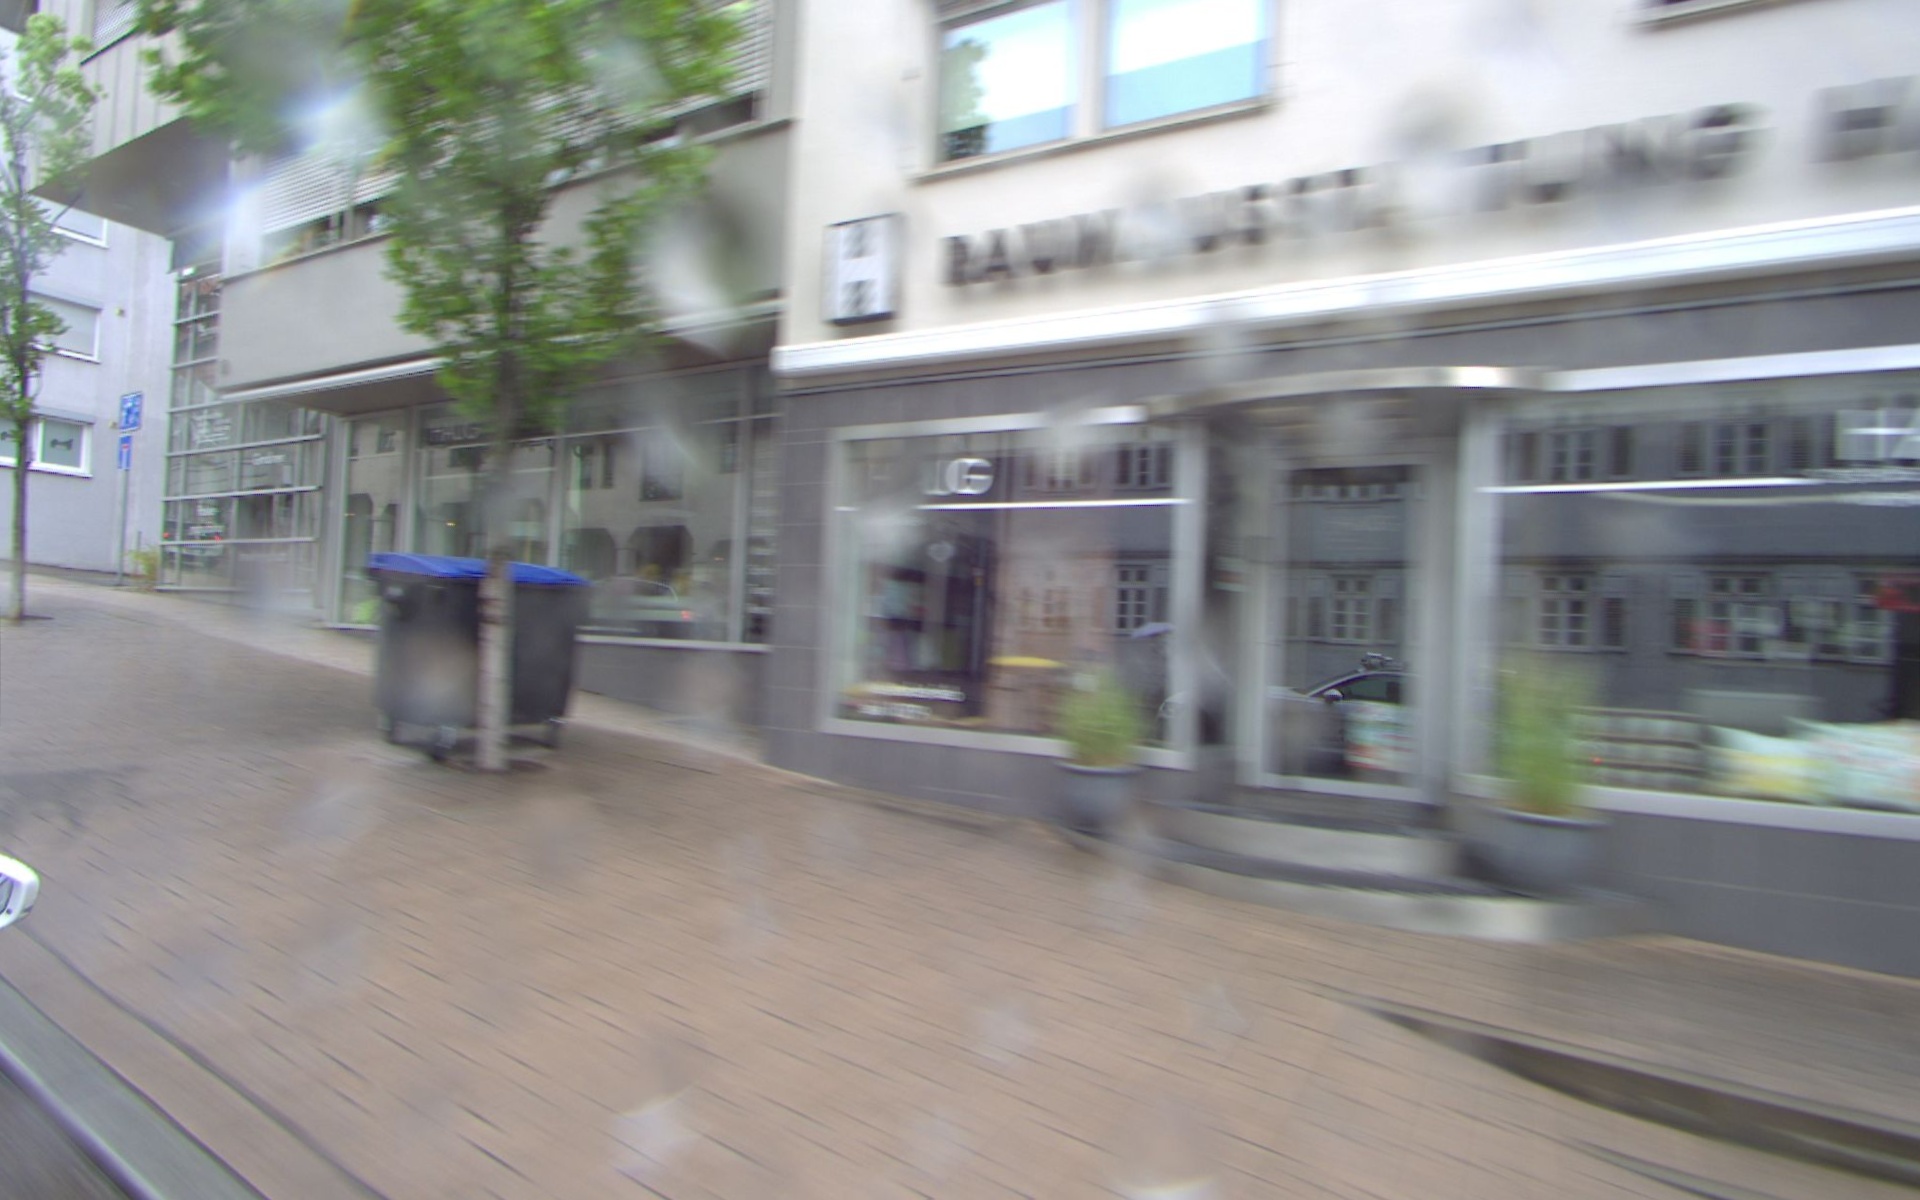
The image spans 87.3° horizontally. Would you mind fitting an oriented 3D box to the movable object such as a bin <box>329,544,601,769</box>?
[{"bbox_3d":[-3.502,0.373,7.173,1.153,1.352,1.235,7,1,32],"label":"movable object such as a bin"}]
